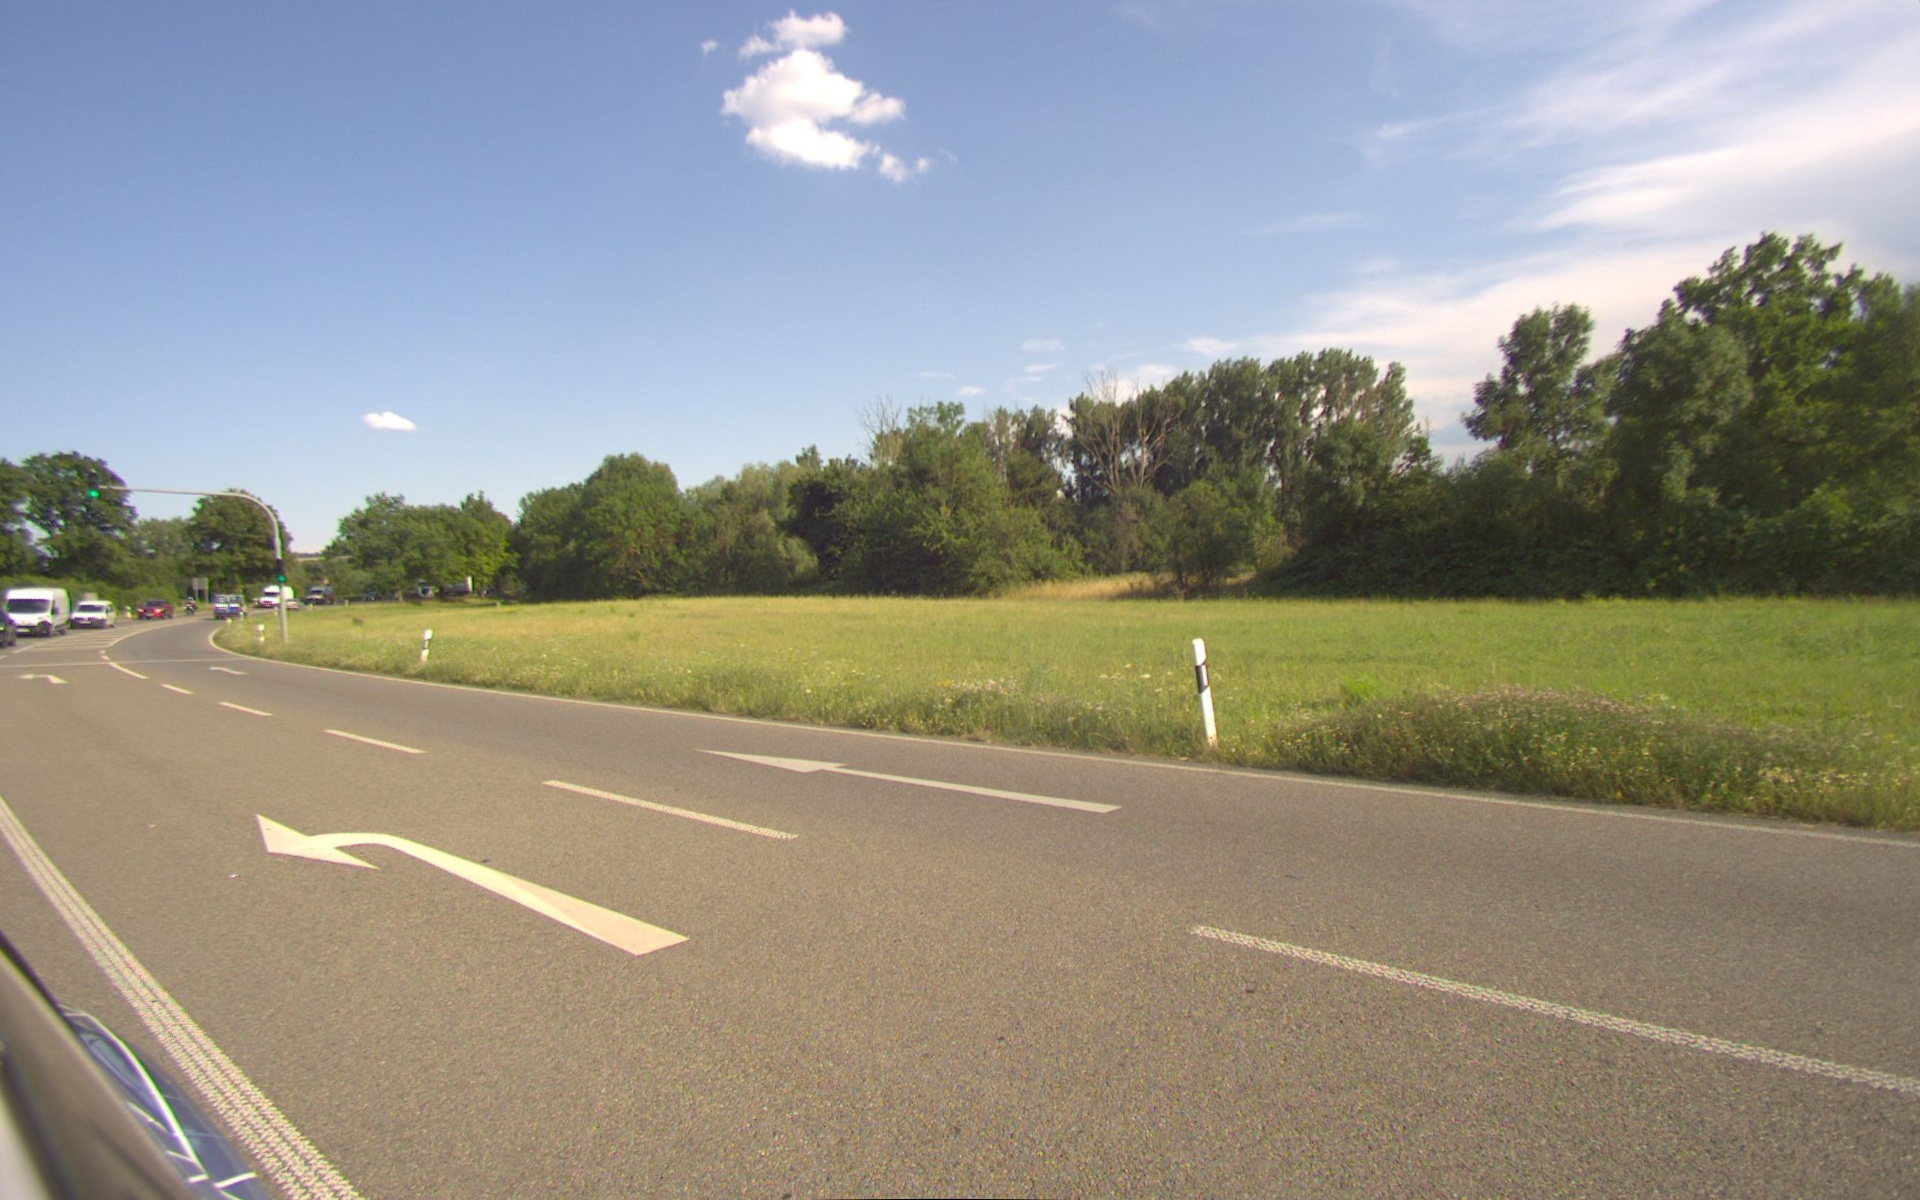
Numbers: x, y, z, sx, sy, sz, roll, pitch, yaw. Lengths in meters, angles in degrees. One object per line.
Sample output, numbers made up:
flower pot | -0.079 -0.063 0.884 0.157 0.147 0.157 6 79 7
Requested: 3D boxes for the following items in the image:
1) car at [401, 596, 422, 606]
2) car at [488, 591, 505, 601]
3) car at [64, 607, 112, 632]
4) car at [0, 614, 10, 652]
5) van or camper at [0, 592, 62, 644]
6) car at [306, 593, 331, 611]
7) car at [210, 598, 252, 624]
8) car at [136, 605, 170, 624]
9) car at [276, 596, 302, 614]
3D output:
car | -92.448 0.188 170.636 1.568 1.478 3.606 0 -1 0
car | -94.218 -0.847 205.864 1.704 1.897 4.339 0 -1 -4
car | -56.247 1.242 65.328 1.646 1.490 3.505 -3 1 -29
car | -39.981 1.330 41.274 1.583 1.490 3.623 2 -2 -40
van or camper | -48.778 0.907 53.089 2.002 2.494 5.088 -3 1 -37
car | -91.563 0.237 144.548 1.966 2.405 4.952 -3 1 -21
car | -63.318 0.921 87.967 1.970 2.153 4.795 -1 0 -24
car | -69.293 1.218 86.921 1.646 1.490 3.505 -3 1 -29
car | -77.491 0.538 116.993 1.756 2.028 3.858 -3 1 -23
